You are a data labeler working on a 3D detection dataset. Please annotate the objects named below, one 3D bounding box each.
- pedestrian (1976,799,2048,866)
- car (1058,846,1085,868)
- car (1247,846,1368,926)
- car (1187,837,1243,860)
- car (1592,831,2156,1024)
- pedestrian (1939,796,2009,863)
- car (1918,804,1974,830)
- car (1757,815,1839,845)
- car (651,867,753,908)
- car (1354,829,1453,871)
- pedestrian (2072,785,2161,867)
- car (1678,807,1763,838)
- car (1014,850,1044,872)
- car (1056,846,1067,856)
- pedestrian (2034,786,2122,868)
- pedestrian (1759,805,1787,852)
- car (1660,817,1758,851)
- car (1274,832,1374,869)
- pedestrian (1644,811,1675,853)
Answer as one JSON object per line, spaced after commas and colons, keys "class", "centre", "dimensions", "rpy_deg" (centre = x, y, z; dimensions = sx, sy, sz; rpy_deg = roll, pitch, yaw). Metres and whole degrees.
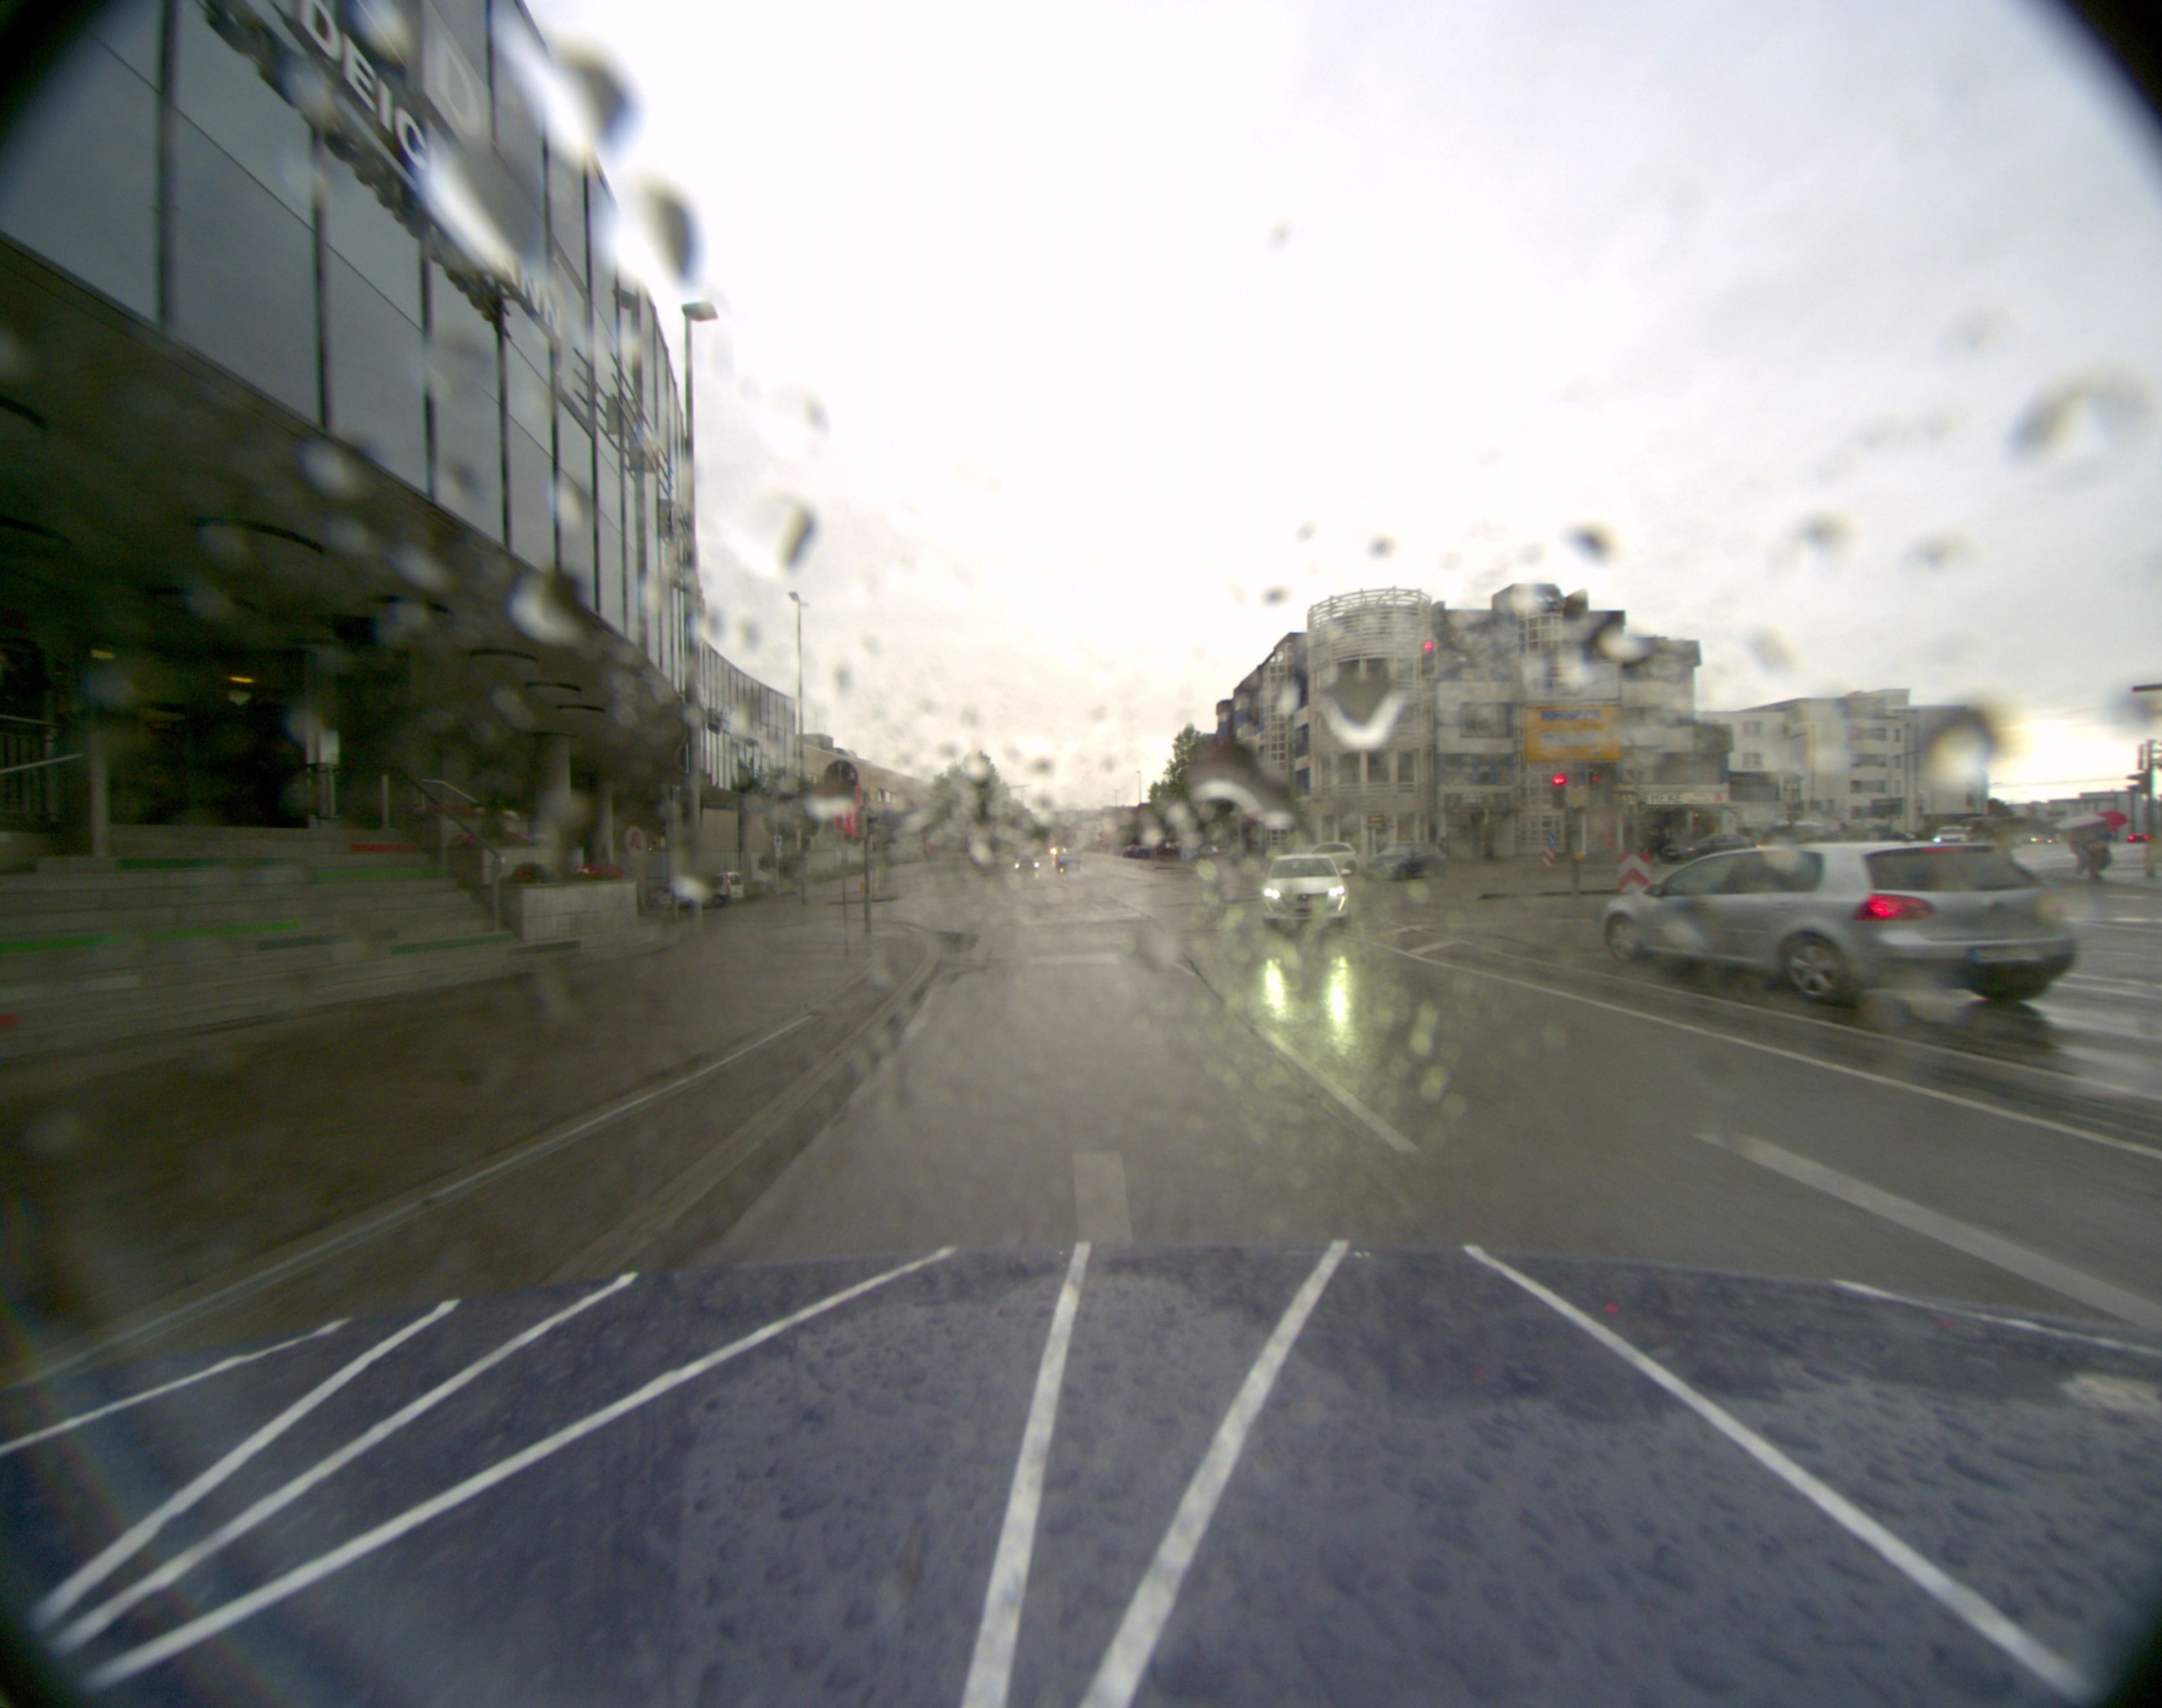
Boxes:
{"class": "pedestrian", "centre": [27.446, -0.632, 22.411], "dimensions": [0.905, 1.904, 0.978], "rpy_deg": [-2, 1, 10]}
{"class": "car", "centre": [-0.688, 0.206, 57.099], "dimensions": [1.900, 1.517, 3.999], "rpy_deg": [-2, 1, 0]}
{"class": "car", "centre": [4.763, 0.604, 16.522], "dimensions": [1.875, 1.454, 3.875], "rpy_deg": [-2, 1, 8]}
{"class": "car", "centre": [9.368, -0.373, 53.415], "dimensions": [1.904, 1.517, 3.992], "rpy_deg": [-3, 1, -25]}
{"class": "car", "centre": [7.484, 0.576, 7.896], "dimensions": [1.761, 1.443, 4.001], "rpy_deg": [-2, 0, 3]}
{"class": "pedestrian", "centre": [26.504, -0.722, 22.578], "dimensions": [0.905, 1.904, 0.978], "rpy_deg": [-2, 1, 10]}
{"class": "car", "centre": [73.316, -3.130, 64.502], "dimensions": [1.994, 2.002, 4.606], "rpy_deg": [-2, 1, 34]}
{"class": "car", "centre": [45.502, -1.492, 48.244], "dimensions": [3.895, 1.710, 1.746], "rpy_deg": [-2, 1, -8]}
{"class": "car", "centre": [-19.197, 1.693, 38.624], "dimensions": [4.110, 1.749, 2.000], "rpy_deg": [-3, 1, 1]}
{"class": "car", "centre": [13.057, -0.183, 30.699], "dimensions": [3.919, 1.534, 1.673], "rpy_deg": [-2, 0, -31]}
{"class": "pedestrian", "centre": [26.275, -0.688, 19.299], "dimensions": [0.905, 2.002, 0.978], "rpy_deg": [-2, 1, 10]}
{"class": "car", "centre": [38.769, -1.884, 46.100], "dimensions": [3.895, 1.710, 1.746], "rpy_deg": [-2, 1, -8]}
{"class": "car", "centre": [-3.942, 0.475, 57.913], "dimensions": [1.900, 1.517, 3.999], "rpy_deg": [-2, 1, 0]}
{"class": "car", "centre": [-3.180, -0.534, 124.726], "dimensions": [1.583, 1.630, 3.640], "rpy_deg": [-2, 1, 1]}
{"class": "pedestrian", "centre": [25.355, -0.660, 19.347], "dimensions": [0.905, 2.002, 0.978], "rpy_deg": [-2, 1, 10]}
{"class": "pedestrian", "centre": [26.533, -0.982, 29.149], "dimensions": [0.682, 1.733, 0.586], "rpy_deg": [-2, 2, 36]}
{"class": "car", "centre": [30.652, -0.974, 37.124], "dimensions": [3.840, 1.481, 1.632], "rpy_deg": [-2, 1, -12]}
{"class": "car", "centre": [11.373, -0.168, 35.554], "dimensions": [4.331, 1.540, 1.760], "rpy_deg": [-2, 0, -23]}
{"class": "pedestrian", "centre": [24.264, -0.916, 31.859], "dimensions": [0.837, 1.733, 0.585], "rpy_deg": [-3, 1, 16]}
